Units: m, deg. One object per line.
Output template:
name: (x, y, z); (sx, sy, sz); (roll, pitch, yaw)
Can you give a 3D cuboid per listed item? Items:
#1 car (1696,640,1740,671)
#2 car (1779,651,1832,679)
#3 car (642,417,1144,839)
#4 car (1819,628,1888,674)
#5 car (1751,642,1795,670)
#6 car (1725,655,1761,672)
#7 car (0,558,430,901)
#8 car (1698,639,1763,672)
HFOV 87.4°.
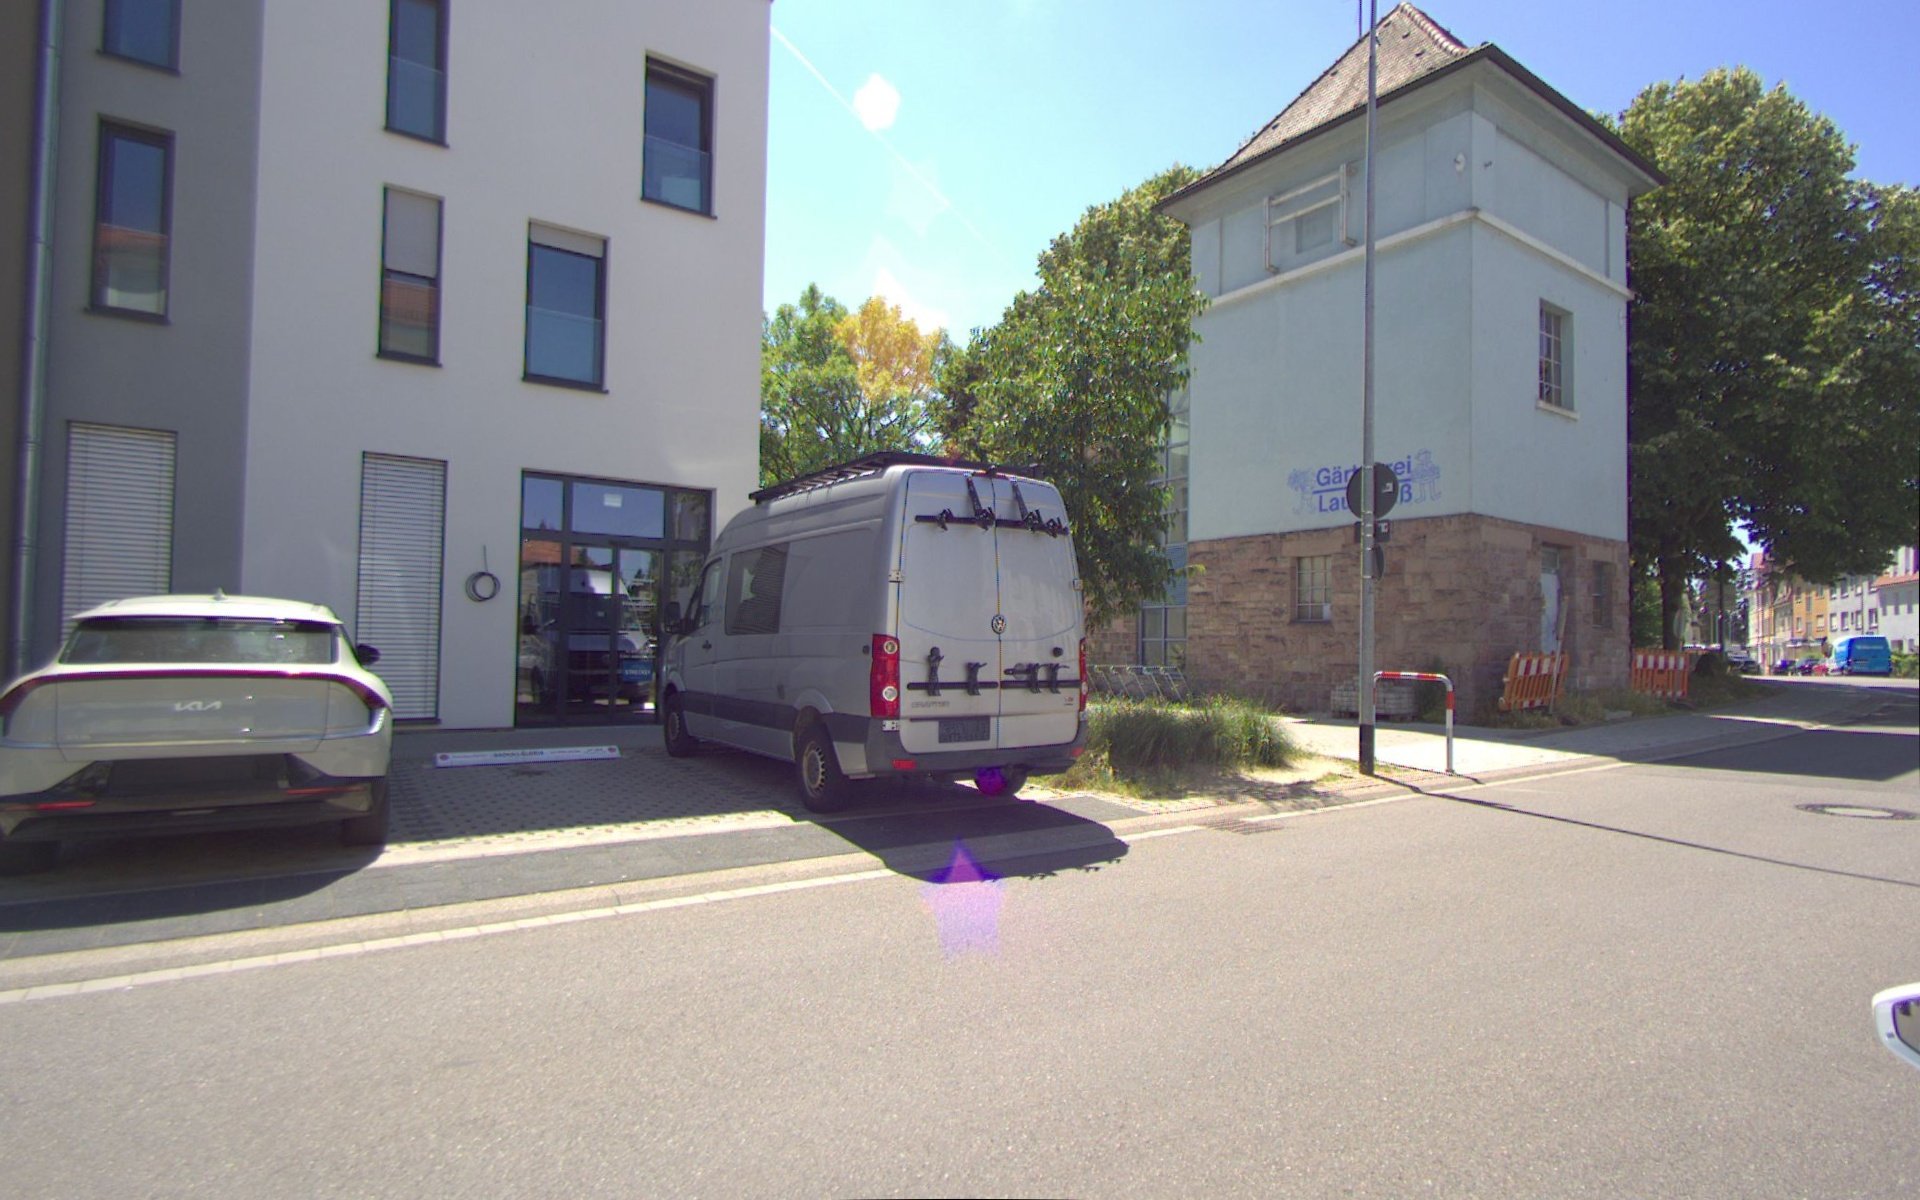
car: (60.939, 4.425, 80.798); (2.212, 2.374, 4.844); (0, -1, 30)
car: (57.261, 4.437, 68.127); (1.964, 1.768, 4.323); (0, -4, 30)
car: (-1.085, 0.227, 9.637); (2.267, 2.768, 5.734); (3, -1, -33)
car: (52.058, 2.980, 58.607); (2.102, 2.574, 4.640); (0, -3, 31)
car: (61.563, 4.199, 76.140); (1.964, 2.040, 3.993); (0, -2, 30)
car: (73.157, 5.945, 93.903); (1.964, 1.410, 4.321); (0, -2, 30)
car: (-5.083, 0.637, 7.005); (1.979, 1.612, 4.426); (3, -1, -34)
car: (43.674, 3.142, 57.042); (1.713, 1.795, 4.337); (-2, -3, 22)
